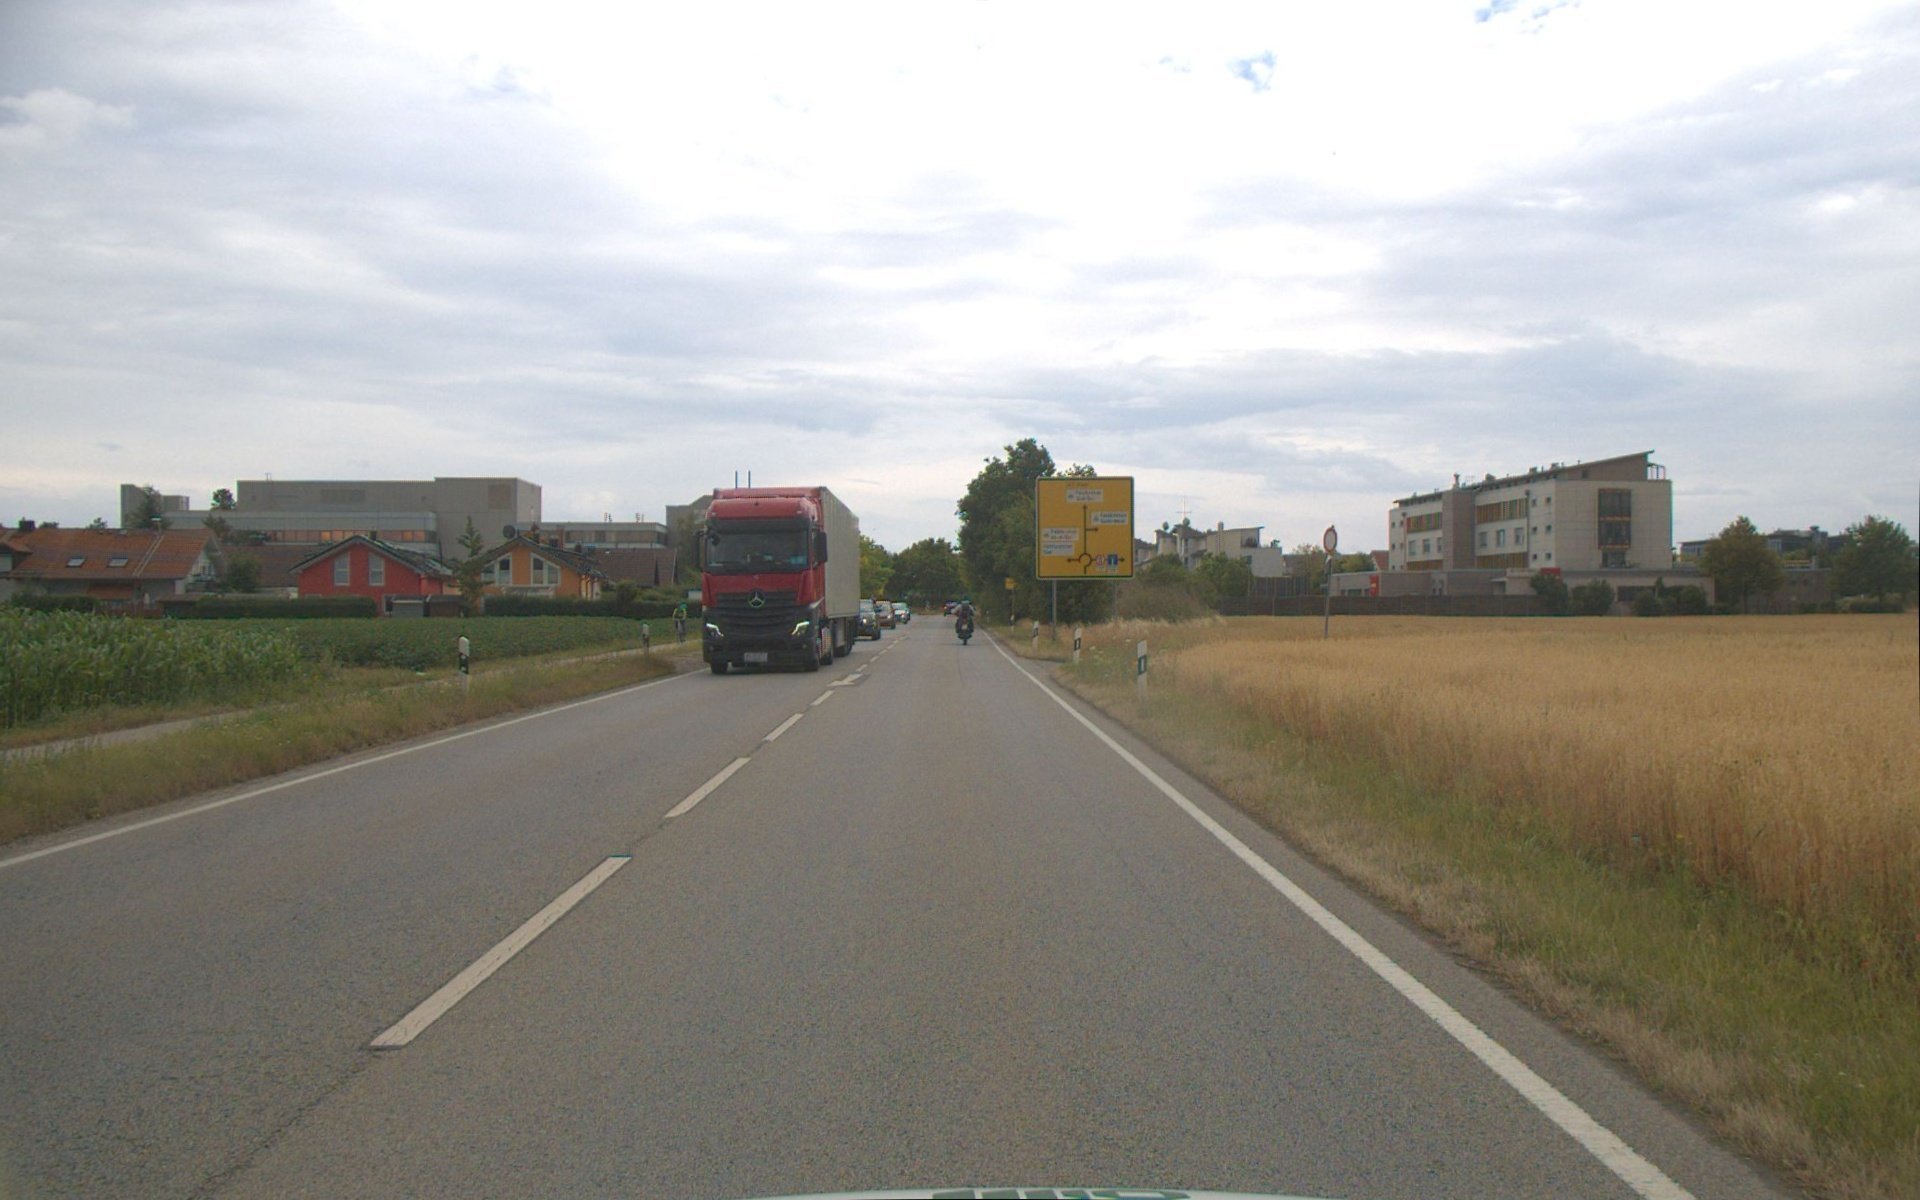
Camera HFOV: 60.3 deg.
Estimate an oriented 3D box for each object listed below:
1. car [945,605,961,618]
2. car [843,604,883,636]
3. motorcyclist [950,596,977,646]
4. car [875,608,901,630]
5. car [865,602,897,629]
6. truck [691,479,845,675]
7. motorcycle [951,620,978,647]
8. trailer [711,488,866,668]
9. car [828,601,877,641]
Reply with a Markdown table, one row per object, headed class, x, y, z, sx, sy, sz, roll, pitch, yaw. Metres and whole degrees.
| class | x | y | z | sx | sy | sz | roll | pitch | yaw |
| --- | --- | --- | --- | --- | --- | --- | --- | --- | --- |
| car | -0.776 | 1.290 | 188.312 | 1.817 | 1.498 | 3.999 | -1 | 0 | -1 |
| car | -4.678 | 0.947 | 80.182 | 1.818 | 1.498 | 3.998 | -1 | 0 | -2 |
| motorcyclist | 0.122 | 0.754 | 59.425 | 0.922 | 1.780 | 1.200 | -1 | 0 | -1 |
| car | -5.106 | 1.325 | 117.357 | 1.818 | 1.498 | 3.998 | -1 | 0 | -2 |
| car | -4.554 | 0.889 | 95.613 | 1.818 | 1.498 | 3.998 | -1 | 0 | -2 |
| truck | -4.265 | -0.466 | 38.130 | 2.674 | 4.057 | 6.815 | -1 | 0 | 0 |
| motorcycle | 0.139 | 1.186 | 59.344 | 0.922 | 0.905 | 2.145 | -1 | 0 | -1 |
| trailer | -4.277 | -0.468 | 44.386 | 2.673 | 4.015 | 13.780 | -1 | 0 | 0 |
| car | -4.281 | 0.824 | 66.203 | 1.818 | 1.498 | 3.998 | -1 | 0 | -2 |
